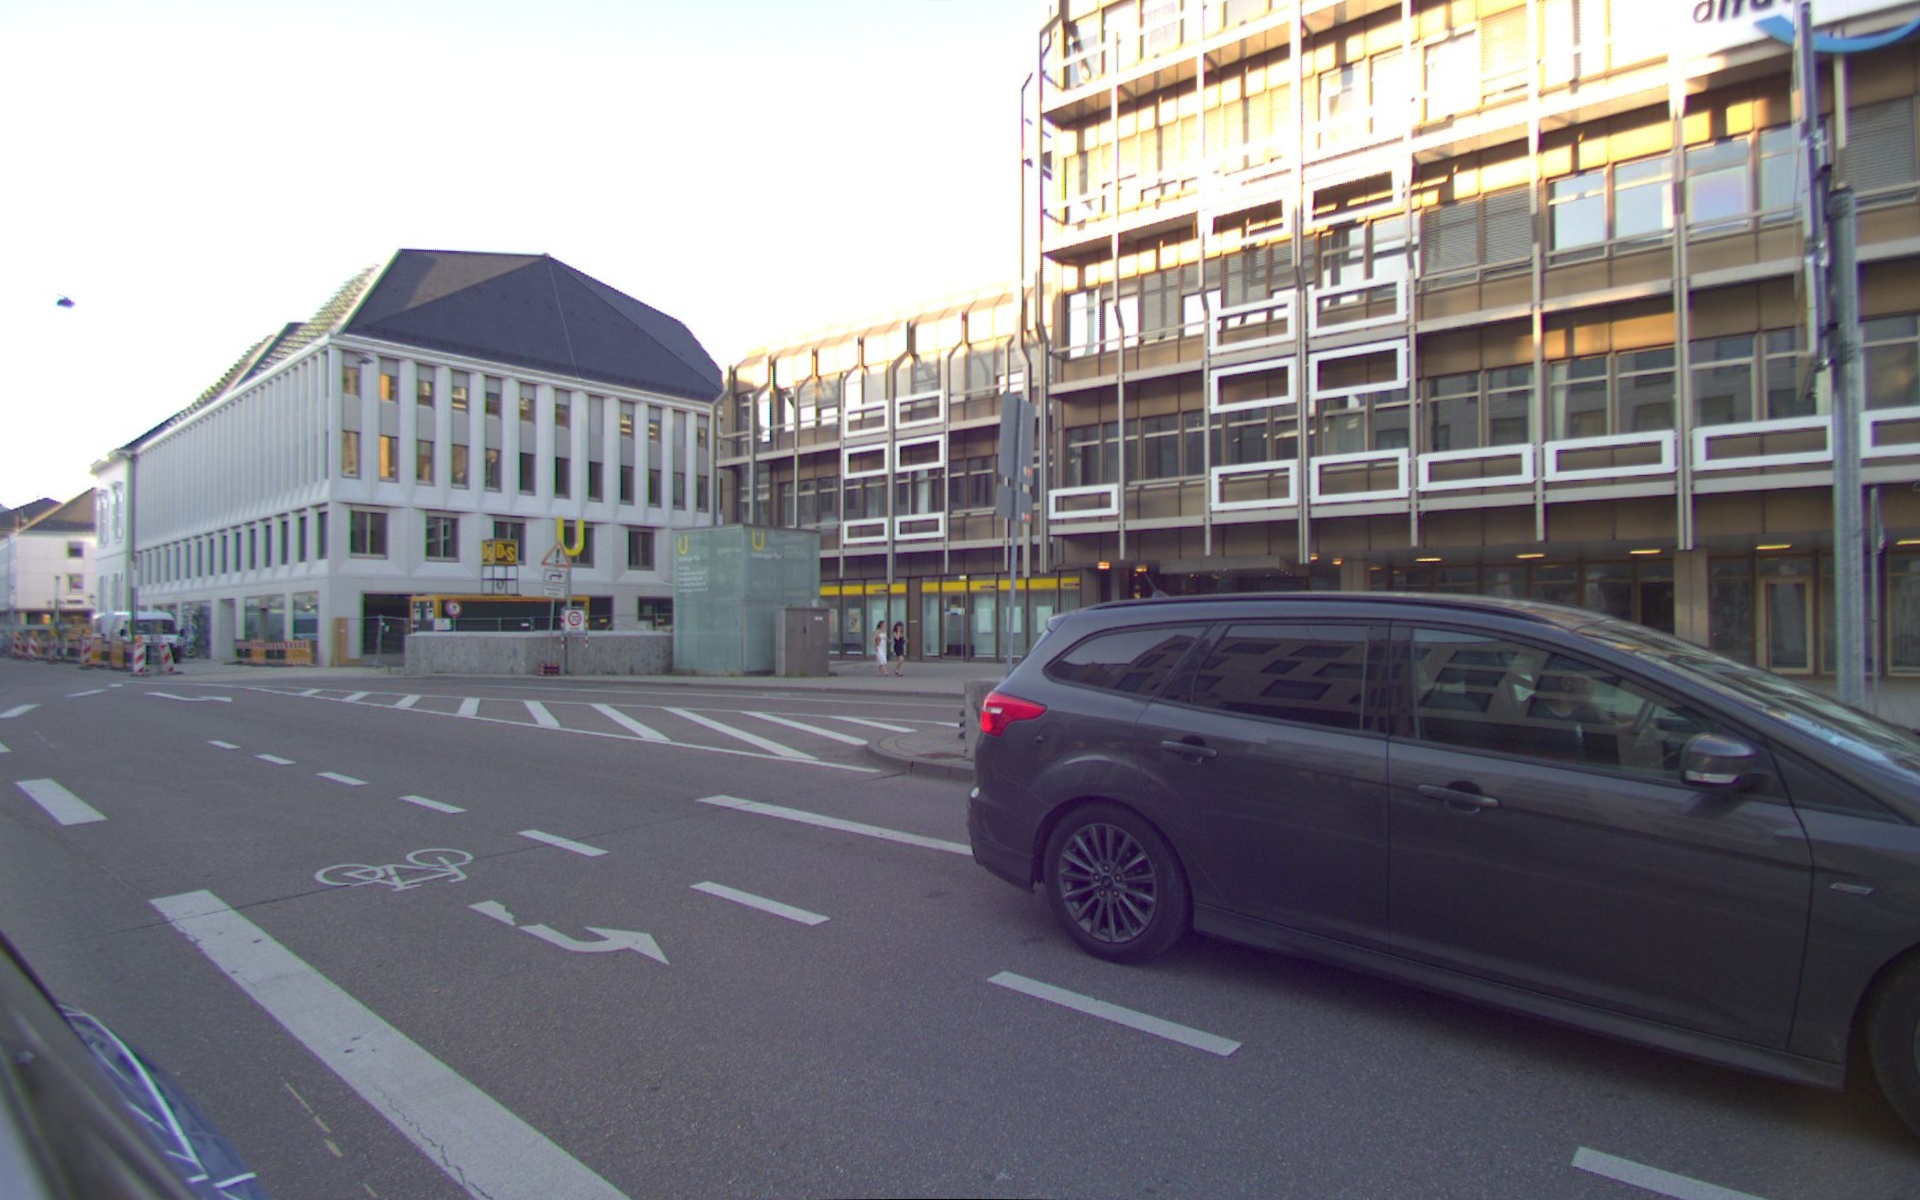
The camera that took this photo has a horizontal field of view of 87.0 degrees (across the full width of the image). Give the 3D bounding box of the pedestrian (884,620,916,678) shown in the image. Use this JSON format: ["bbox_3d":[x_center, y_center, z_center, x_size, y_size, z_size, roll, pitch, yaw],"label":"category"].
[{"bbox_3d":[-1.732,1.409,29.228,0.702,1.652,0.608,-2,-3,41],"label":"pedestrian"}]

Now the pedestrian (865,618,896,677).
[{"bbox_3d":[-2.253,1.348,28.748,0.583,1.652,0.662,-2,-3,41],"label":"pedestrian"}]

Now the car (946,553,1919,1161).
[{"bbox_3d":[2.174,0.639,3.728,4.377,1.473,1.740,-2,-1,40],"label":"car"}]

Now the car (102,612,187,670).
[{"bbox_3d":[-38.871,1.942,48.195,6.047,2.575,2.114,-2,-3,41],"label":"car"}]
